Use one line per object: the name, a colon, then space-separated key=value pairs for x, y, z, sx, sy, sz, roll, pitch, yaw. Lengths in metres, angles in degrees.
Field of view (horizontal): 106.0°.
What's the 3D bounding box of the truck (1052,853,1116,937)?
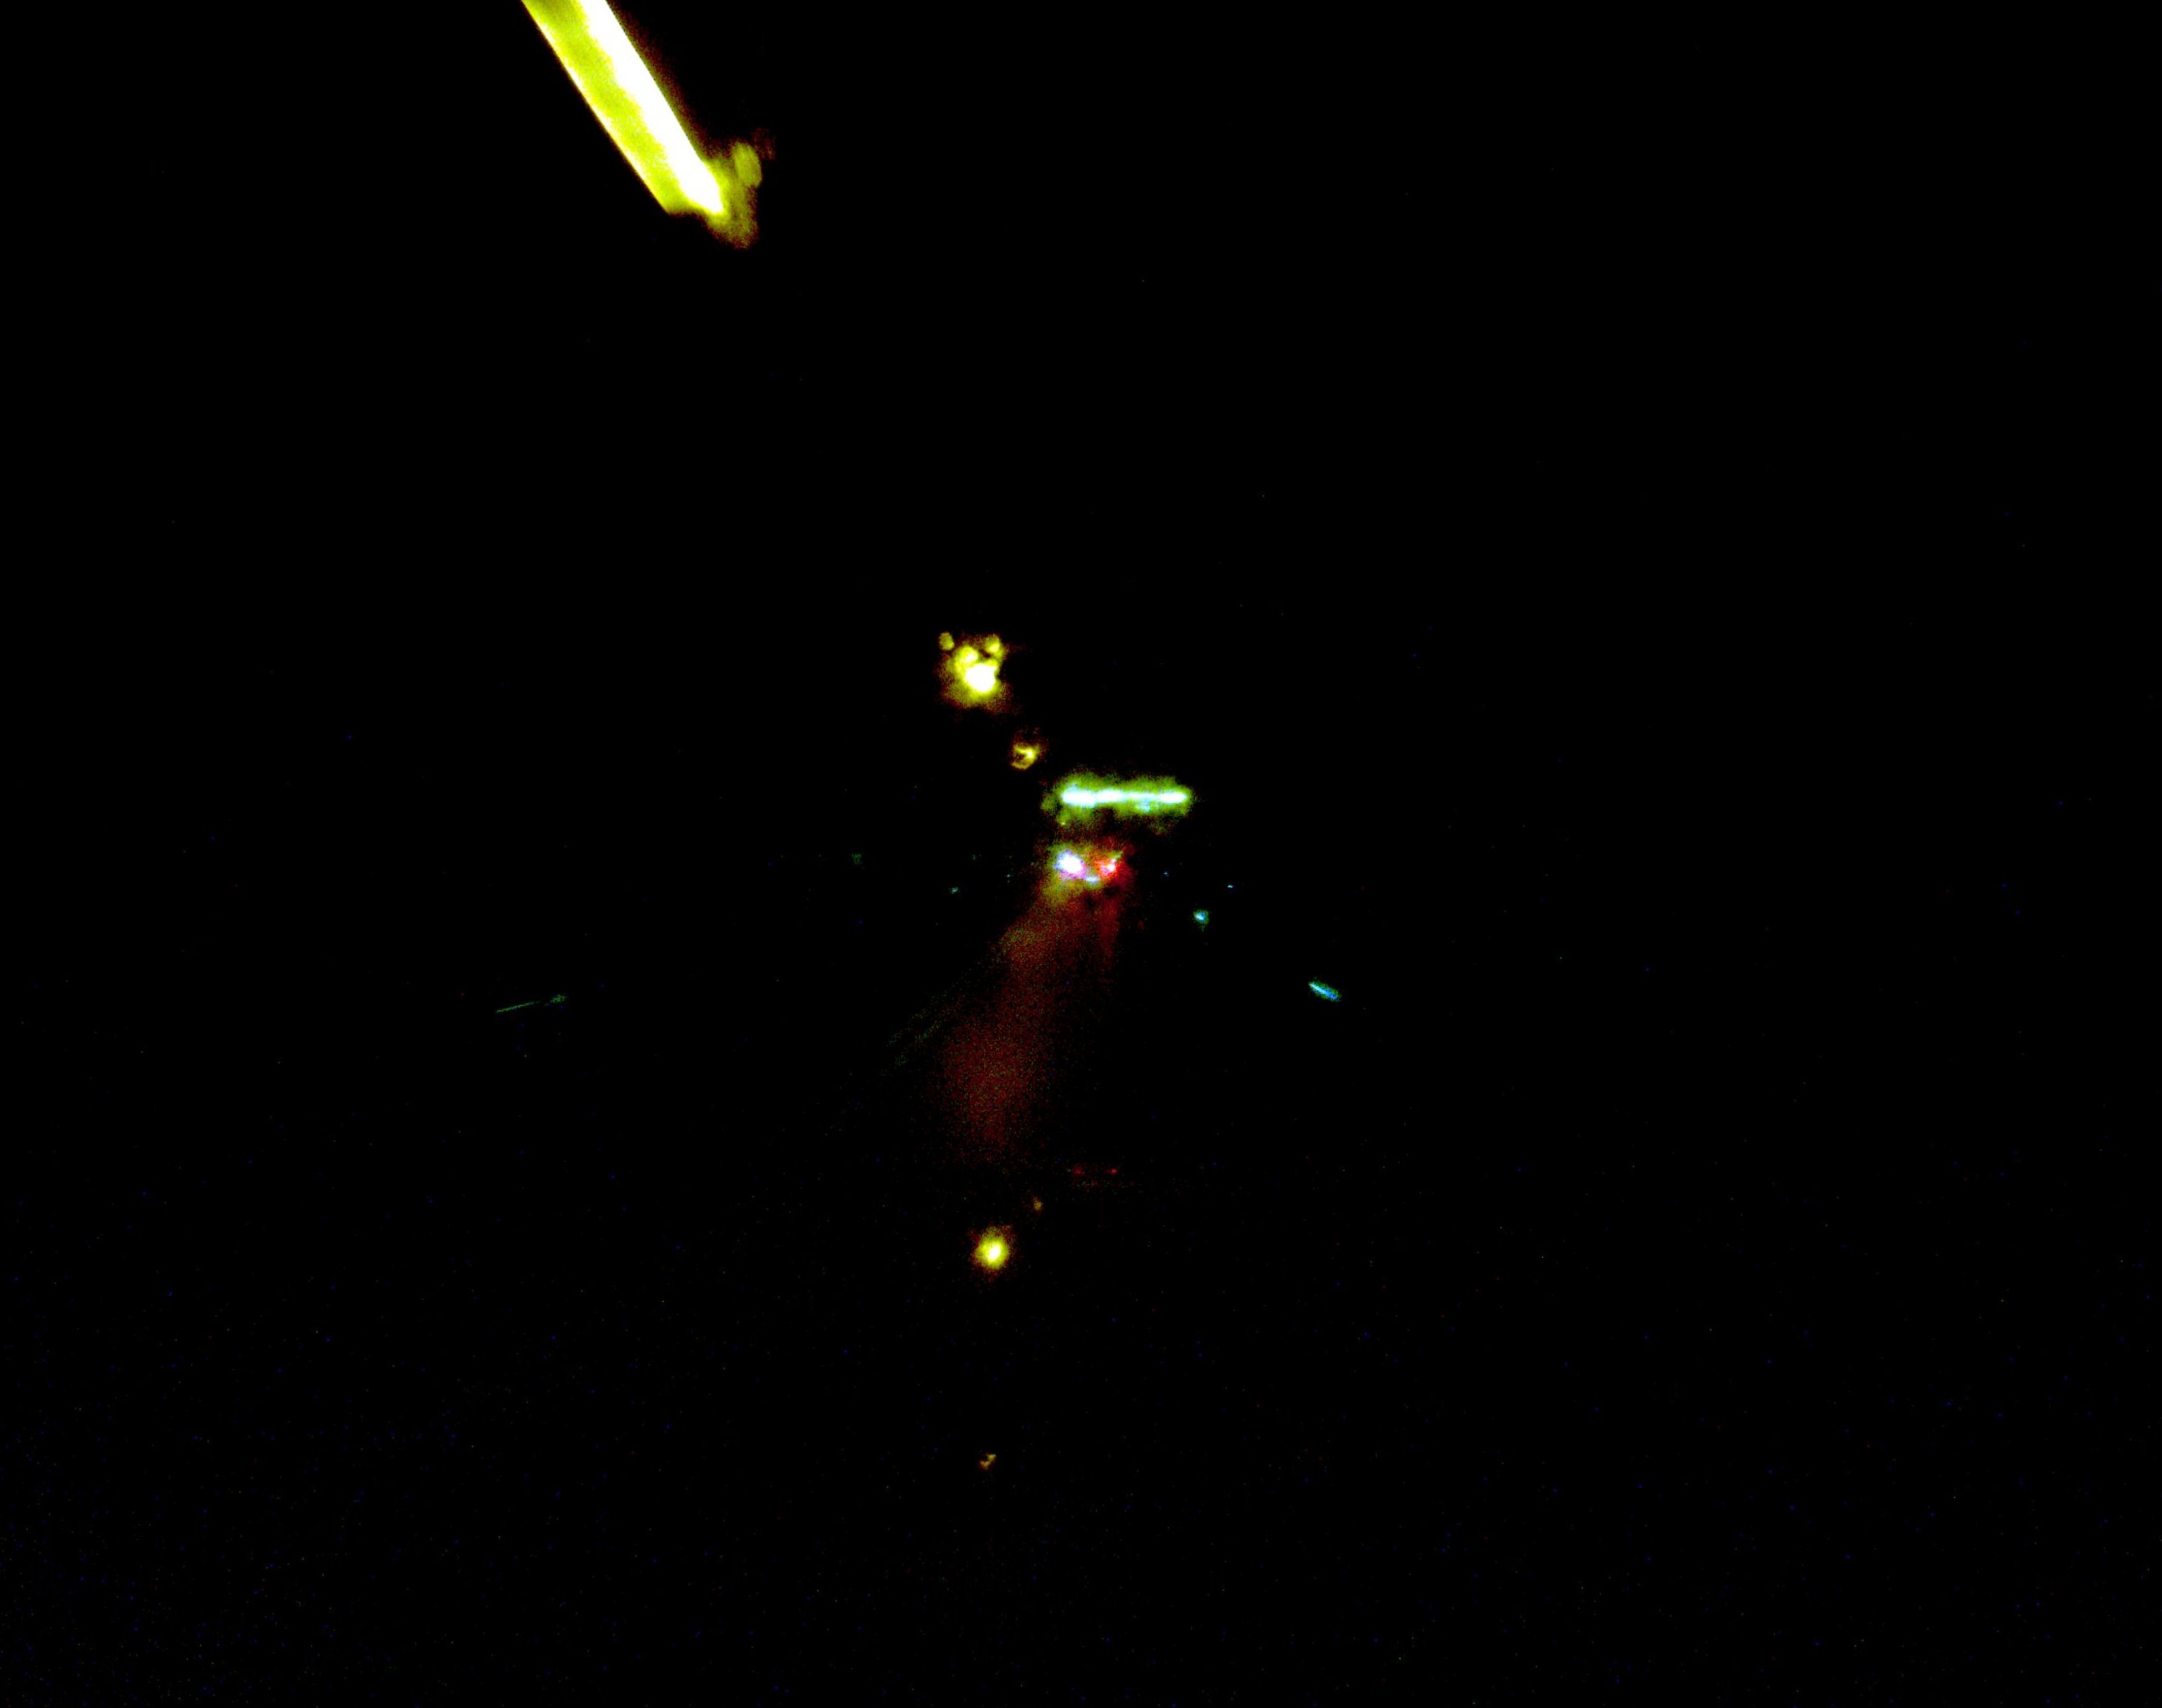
truck: x=0.096 y=1.492 z=33.335 sx=2.255 sy=3.011 sz=7.413 roll=1 pitch=0 yaw=0
